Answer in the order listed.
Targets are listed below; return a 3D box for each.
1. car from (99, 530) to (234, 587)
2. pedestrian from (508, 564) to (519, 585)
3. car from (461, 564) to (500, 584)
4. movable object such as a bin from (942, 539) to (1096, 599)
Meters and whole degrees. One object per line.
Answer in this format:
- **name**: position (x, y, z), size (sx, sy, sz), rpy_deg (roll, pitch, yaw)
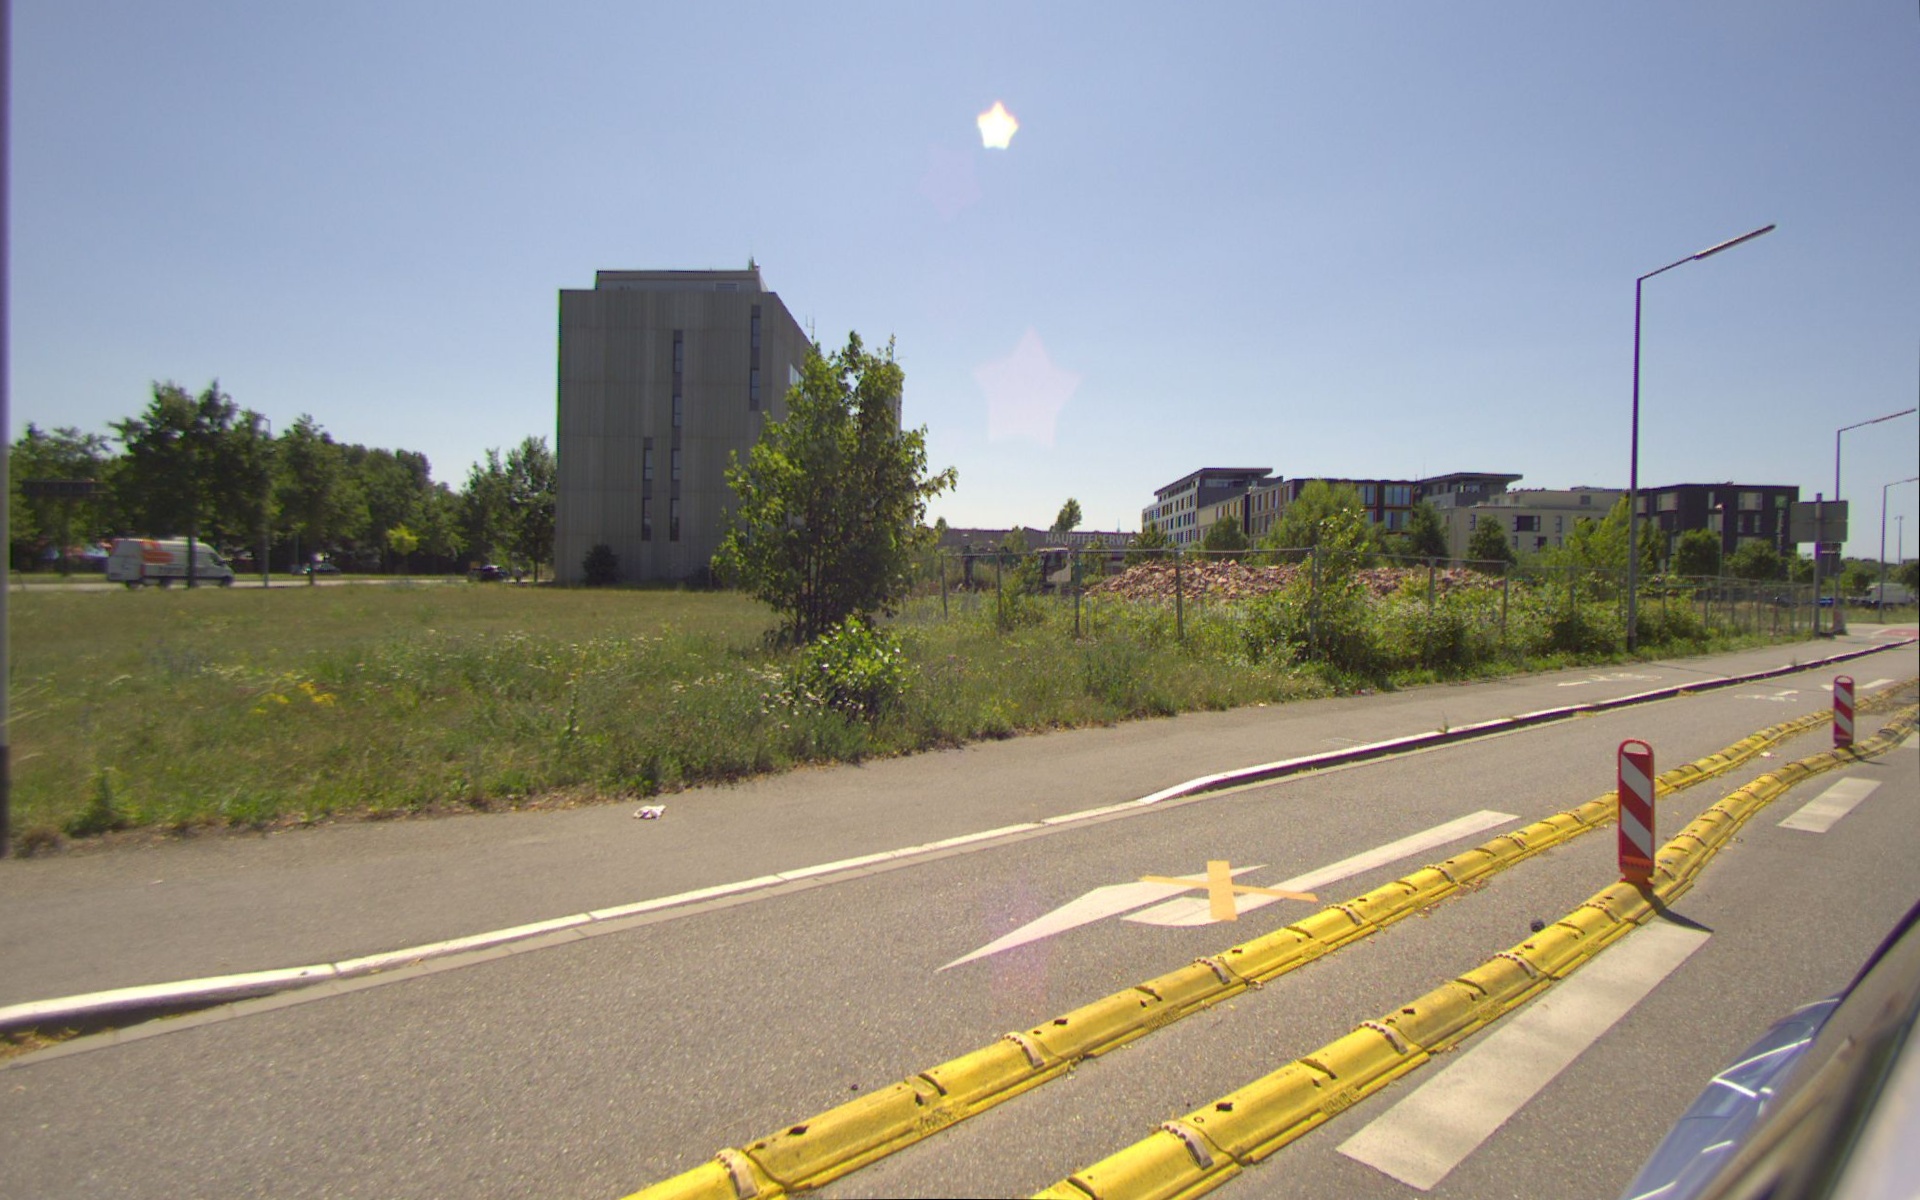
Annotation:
- **car**: position (-42.844, -2.135, 54.935), size (1.962, 2.863, 6.885), rpy_deg (0, 0, 0)
- **pedestrian**: position (-33.484, -1.900, 75.867), size (0.652, 1.611, 0.557), rpy_deg (0, 0, -15)
- **car**: position (-41.949, -2.281, 88.702), size (1.694, 1.571, 4.003), rpy_deg (3, 0, -4)
- **movable object such as a bin**: position (3.125, -1.585, 53.292), size (7.537, 2.952, 3.242), rpy_deg (-1, 0, -26)
